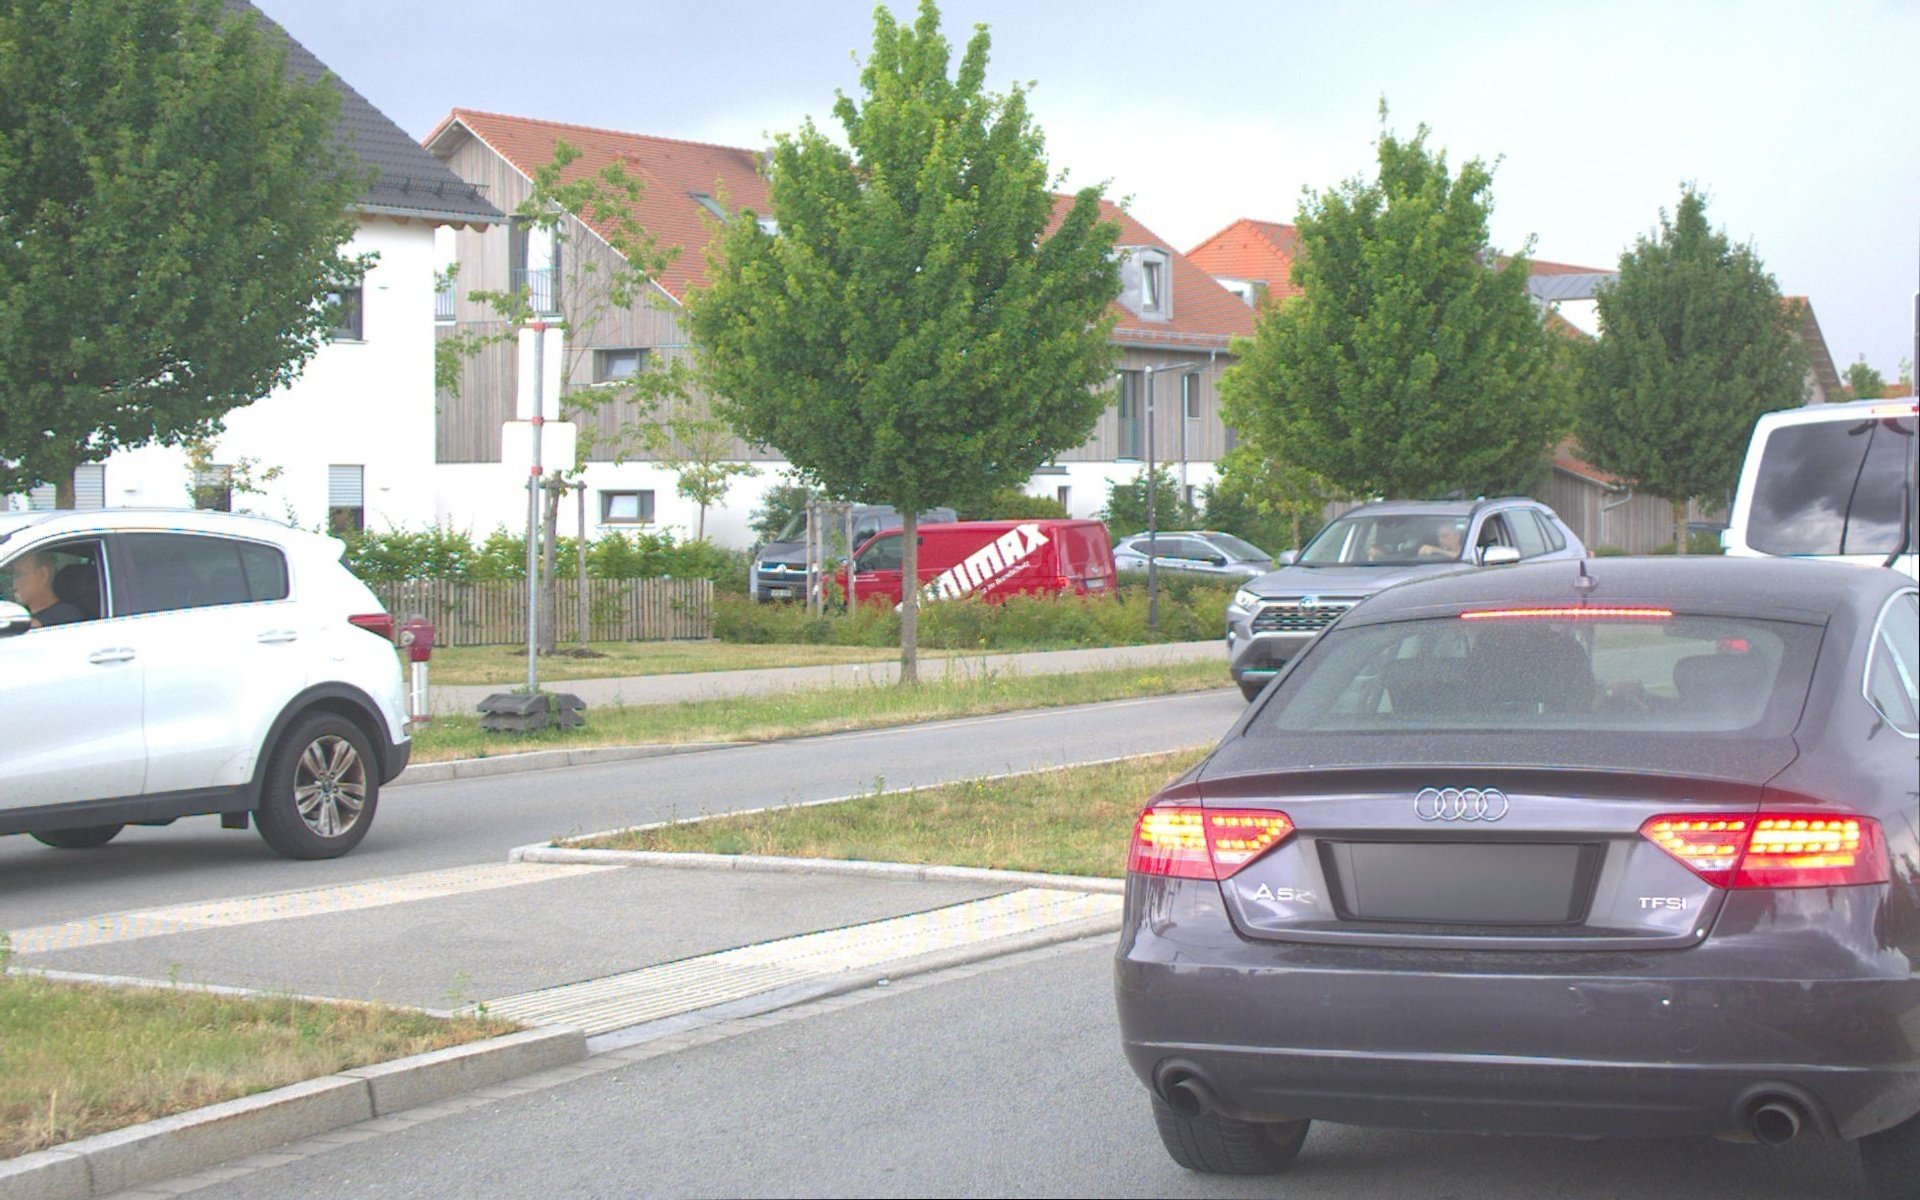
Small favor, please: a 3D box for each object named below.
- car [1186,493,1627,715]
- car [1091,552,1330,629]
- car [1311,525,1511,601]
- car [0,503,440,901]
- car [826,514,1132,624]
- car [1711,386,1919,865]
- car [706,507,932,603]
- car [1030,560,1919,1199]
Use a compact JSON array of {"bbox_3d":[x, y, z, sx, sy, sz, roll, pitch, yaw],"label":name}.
[{"bbox_3d":[3.827,-0.025,28.767,1.997,1.698,4.627,1,2,30],"label":"car"},{"bbox_3d":[4.556,-0.191,62.501,3.920,1.310,1.840,1,2,28],"label":"car"},{"bbox_3d":[9.285,-0.776,70.765,3.735,1.477,1.684,1,2,27],"label":"car"},{"bbox_3d":[-4.473,0.433,15.188,1.712,1.620,4.442,0,2,34],"label":"car"},{"bbox_3d":[0.285,-0.522,55.044,4.539,1.674,1.996,1,2,33],"label":"car"},{"bbox_3d":[4.834,0.069,15.576,1.870,1.927,3.994,1,2,26],"label":"car"},{"bbox_3d":[-2.630,-0.882,65.286,1.997,1.766,4.456,1,2,35],"label":"car"},{"bbox_3d":[1.784,0.625,8.478,1.786,1.387,4.128,1,2,23],"label":"car"}]
